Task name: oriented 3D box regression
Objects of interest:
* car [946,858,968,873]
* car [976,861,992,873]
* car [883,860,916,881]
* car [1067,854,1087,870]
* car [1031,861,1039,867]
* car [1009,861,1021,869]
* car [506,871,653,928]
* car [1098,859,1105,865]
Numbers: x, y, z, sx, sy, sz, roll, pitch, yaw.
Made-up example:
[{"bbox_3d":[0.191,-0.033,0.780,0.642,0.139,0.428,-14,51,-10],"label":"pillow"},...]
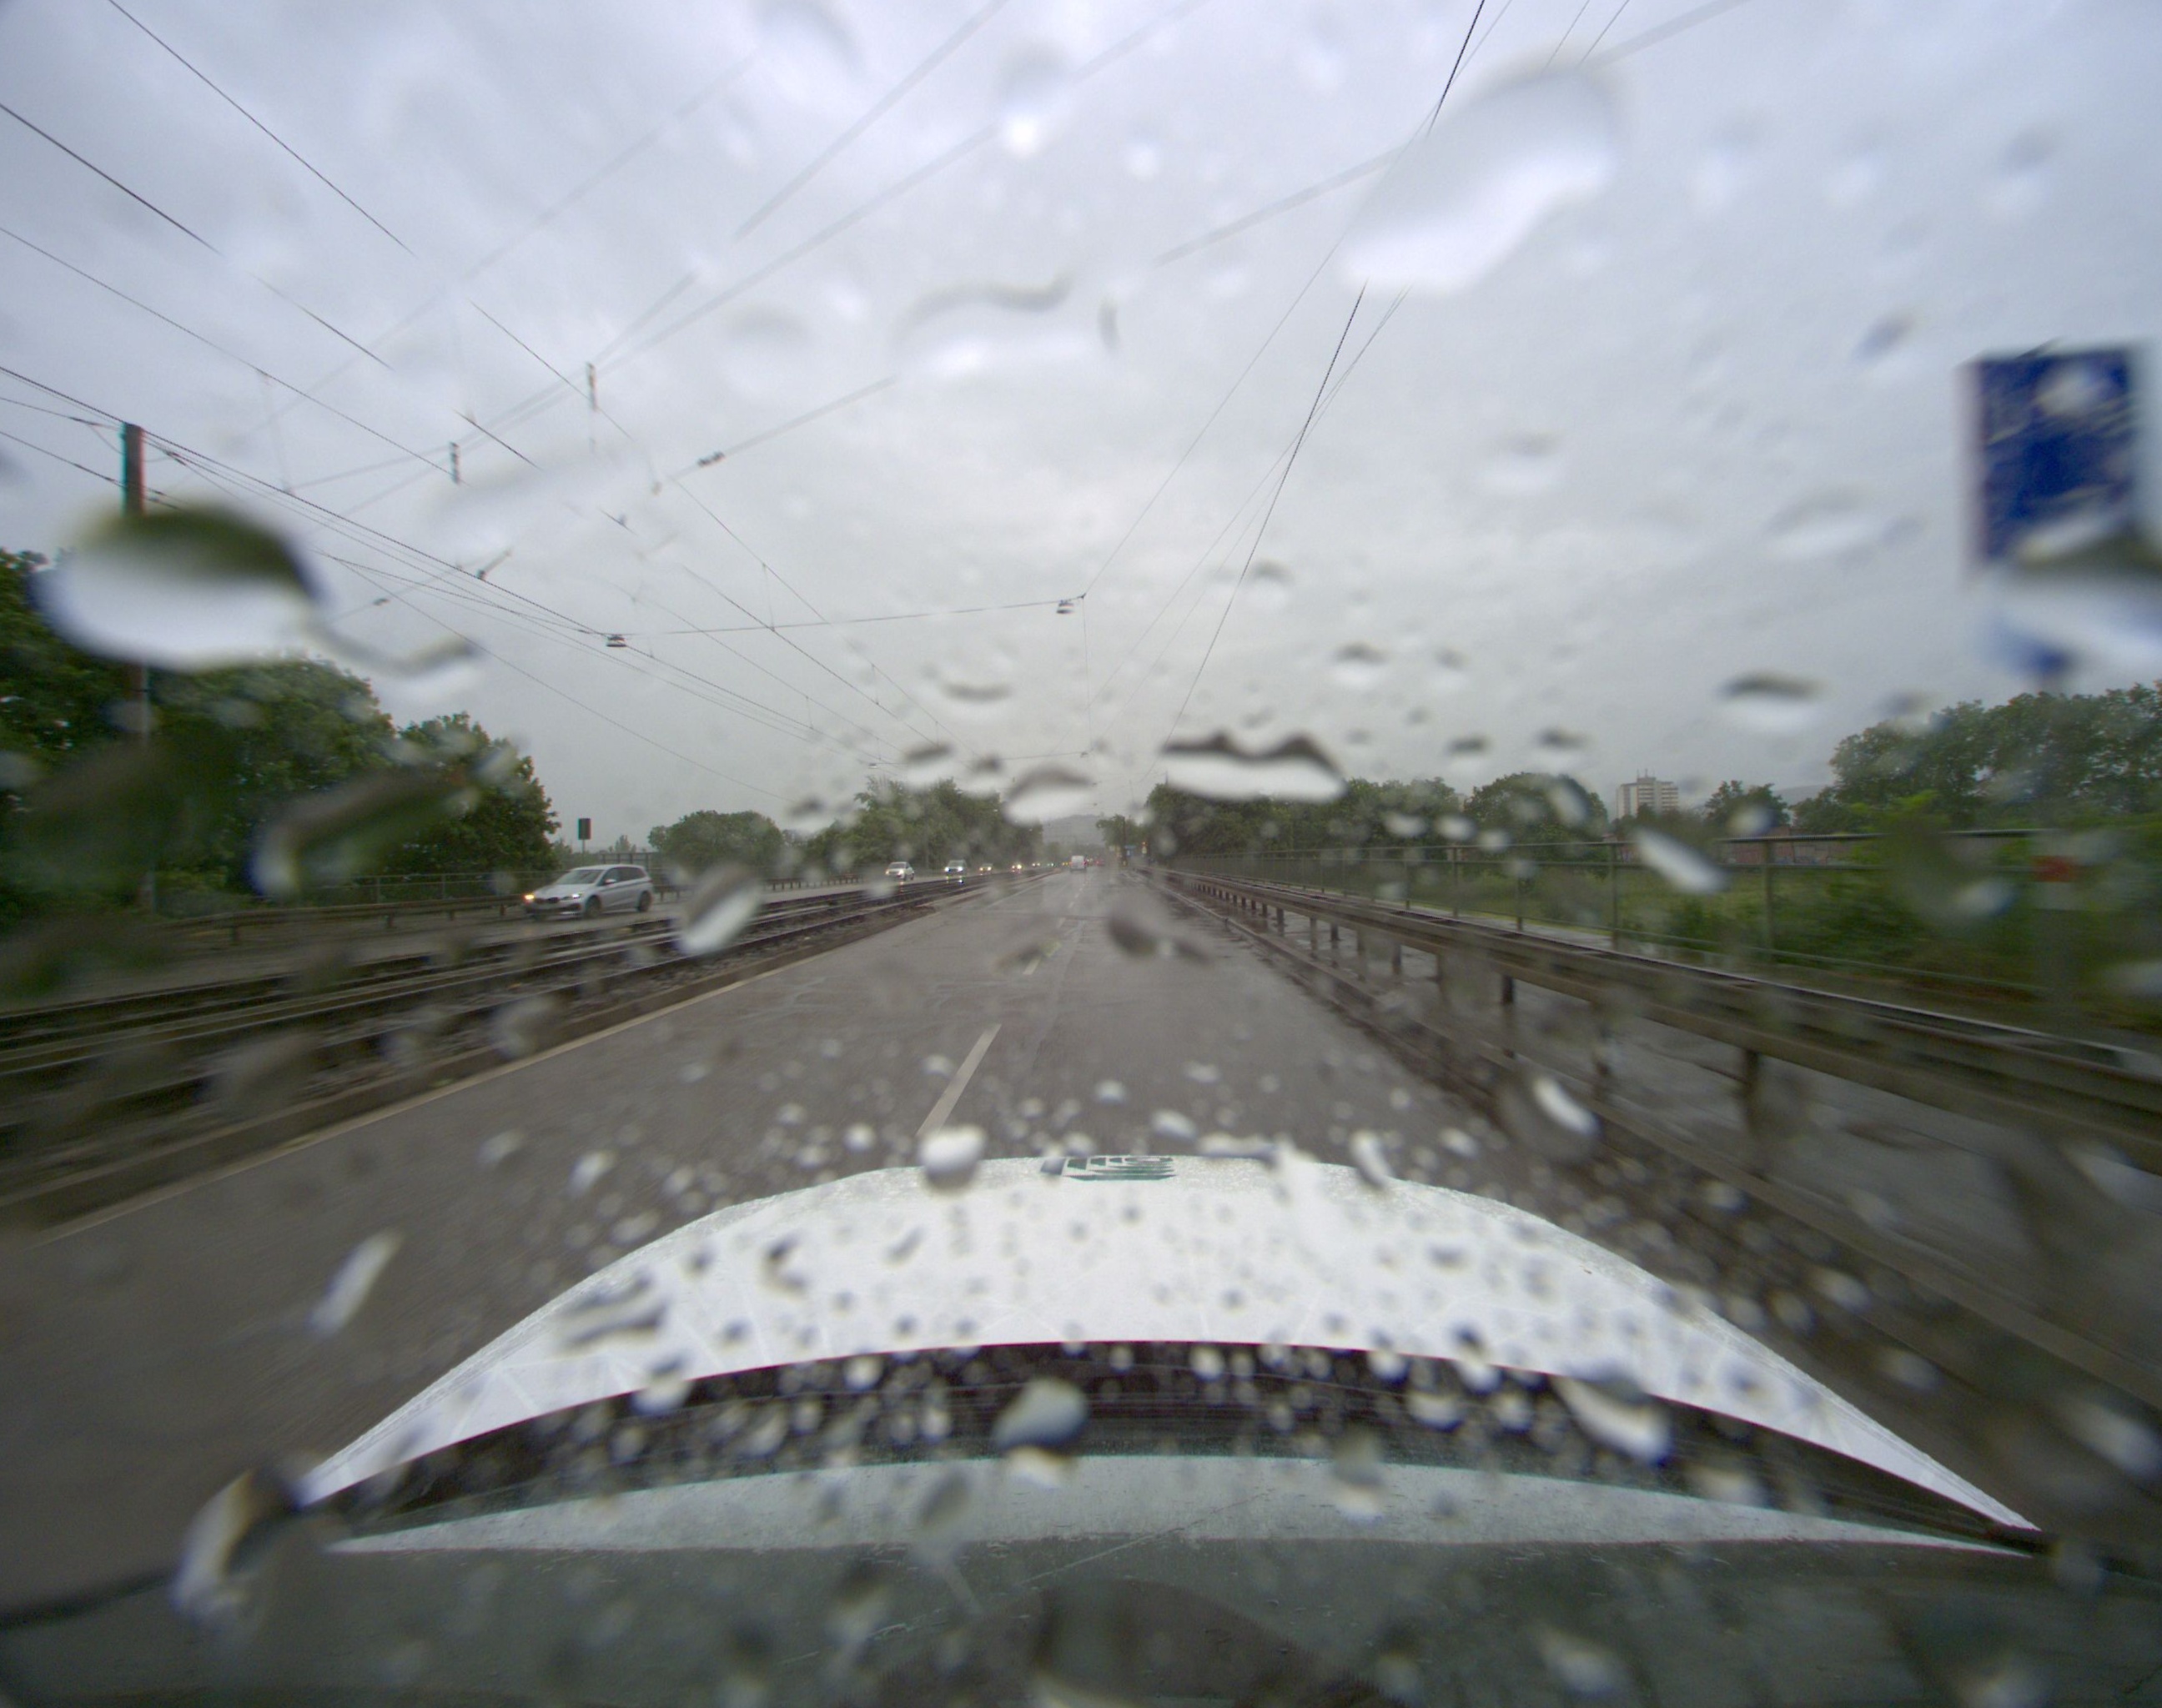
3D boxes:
[{"bbox_3d":[-13.432,1.277,88.606,1.737,1.508,3.701,-1,1,1],"label":"car"},{"bbox_3d":[-13.589,1.818,114.219,1.737,1.508,3.701,-1,1,1],"label":"car"},{"bbox_3d":[-14.726,1.312,66.157,1.737,1.508,3.701,-1,1,1],"label":"car"},{"bbox_3d":[-0.401,0.855,88.099,1.981,1.683,3.743,-1,1,3],"label":"car"},{"bbox_3d":[-11.932,2.615,212.133,1.737,1.508,3.701,-1,1,1],"label":"car"},{"bbox_3d":[-12.342,2.060,152.634,1.737,1.508,3.701,-1,1,1],"label":"car"},{"bbox_3d":[-15.369,1.348,25.256,1.791,1.453,4.197,-1,1,2],"label":"car"},{"bbox_3d":[5.172,2.037,209.193,1.737,1.508,3.701,-1,1,1],"label":"car"}]
